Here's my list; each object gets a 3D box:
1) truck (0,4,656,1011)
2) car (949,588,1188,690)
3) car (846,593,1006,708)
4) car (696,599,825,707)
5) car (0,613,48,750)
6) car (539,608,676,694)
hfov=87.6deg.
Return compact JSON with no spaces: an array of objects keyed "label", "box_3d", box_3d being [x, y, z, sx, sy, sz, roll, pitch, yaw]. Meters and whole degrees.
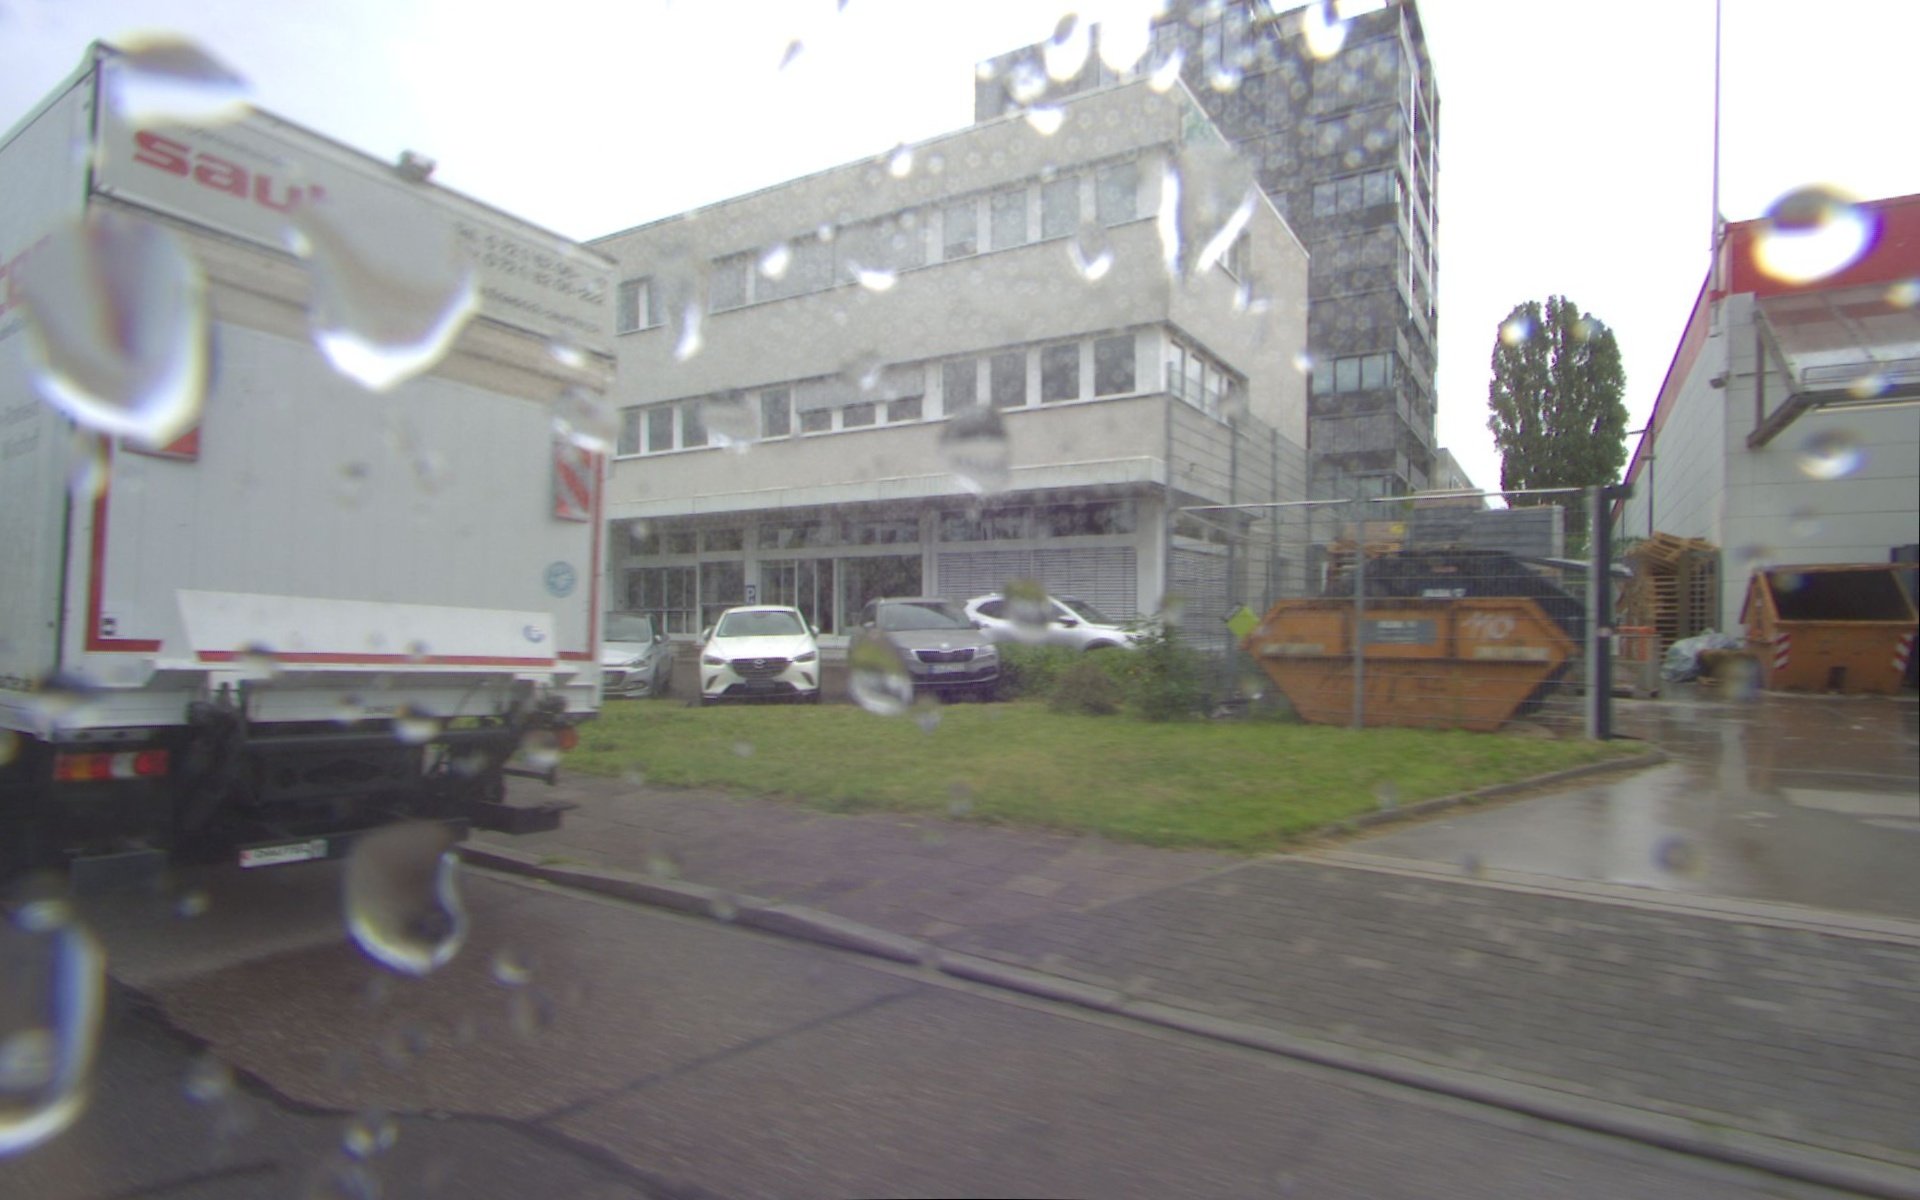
[{"label":"truck","box_3d":[-6.477,-0.288,7.502,9.169,3.836,2.737,0,-3,34]},{"label":"car","box_3d":[2.033,0.684,19.029,4.084,1.728,1.990,0,0,32]},{"label":"car","box_3d":[-0.673,0.706,15.637,1.838,1.547,3.996,0,0,-12]},{"label":"car","box_3d":[-3.148,0.752,15.846,1.743,1.489,3.996,0,0,-11]},{"label":"car","box_3d":[-12.333,0.874,11.458,4.283,1.460,1.793,0,0,33]},{"label":"car","box_3d":[-5.950,0.805,17.298,1.675,1.303,3.996,0,0,-11]}]
